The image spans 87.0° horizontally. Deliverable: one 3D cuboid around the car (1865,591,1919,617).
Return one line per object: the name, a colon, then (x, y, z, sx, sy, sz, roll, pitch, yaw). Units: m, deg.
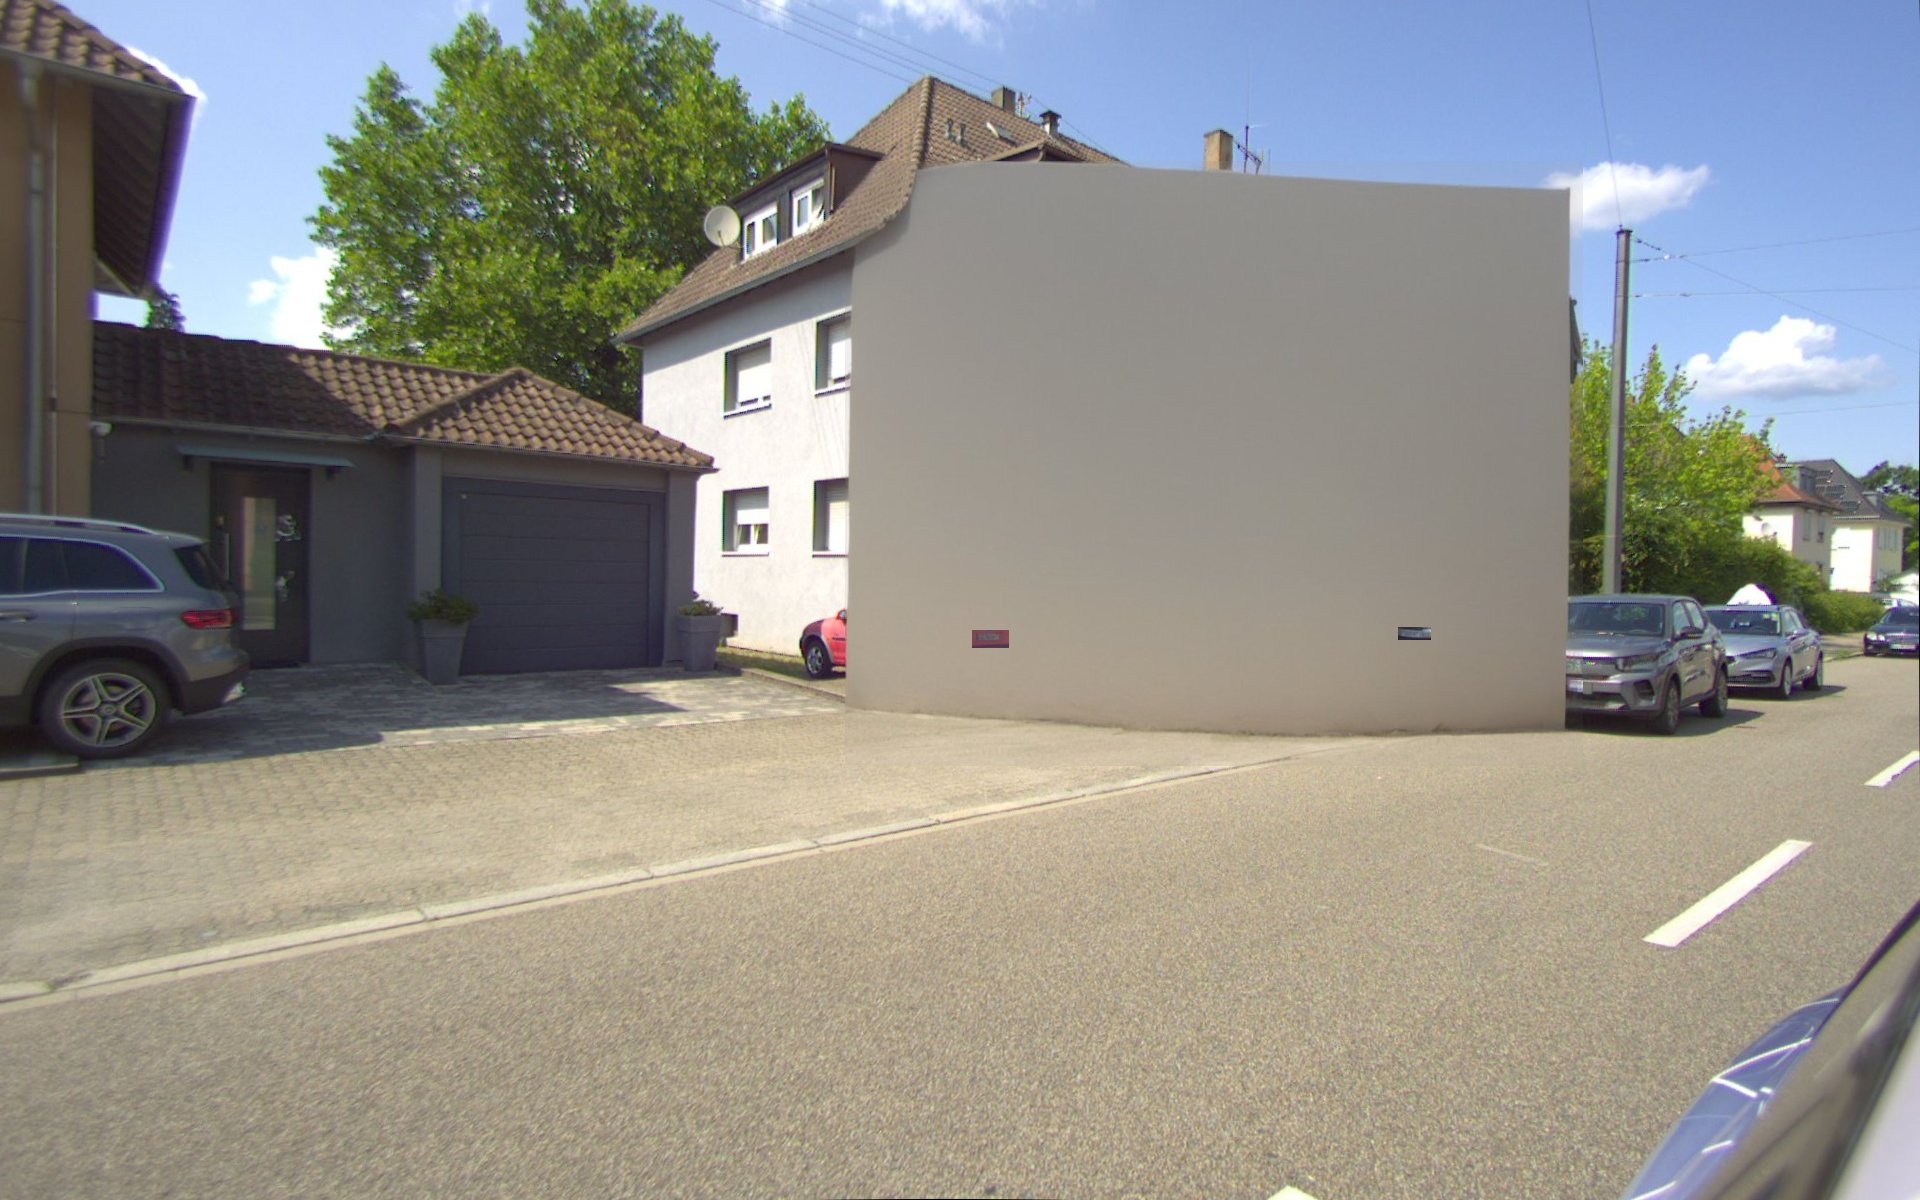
car: (59.706, 0.263, 63.193, 1.730, 1.479, 4.465, 0, 3, -36)

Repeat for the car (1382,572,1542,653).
car: (11.738, 0.223, 23.518, 4.689, 1.667, 1.759, -1, 3, -43)

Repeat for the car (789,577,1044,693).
car: (-0.720, 0.383, 14.309, 1.697, 1.397, 3.654, -1, 2, -42)

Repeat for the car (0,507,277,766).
car: (-7.641, 0.191, 6.879, 4.779, 1.732, 1.840, 0, 3, -42)

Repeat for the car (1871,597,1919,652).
car: (27.641, 0.661, 28.732, 4.966, 1.462, 1.904, 0, 0, -39)

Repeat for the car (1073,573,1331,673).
car: (4.231, 0.314, 17.238, 4.772, 1.441, 1.802, 0, 2, -41)

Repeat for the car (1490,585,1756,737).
car: (8.417, 0.616, 12.700, 4.181, 1.579, 1.809, -1, 1, -42)

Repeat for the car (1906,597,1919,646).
car: (31.749, 0.651, 32.146, 4.917, 1.473, 1.894, -1, 1, -40)

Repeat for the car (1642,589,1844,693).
car: (13.062, 0.574, 16.773, 4.563, 1.472, 1.817, -1, 1, -41)

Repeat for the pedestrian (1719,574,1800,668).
pedestrian: (17.379, 0.429, 22.009, 1.071, 1.970, 1.115, 0, 1, -37)
